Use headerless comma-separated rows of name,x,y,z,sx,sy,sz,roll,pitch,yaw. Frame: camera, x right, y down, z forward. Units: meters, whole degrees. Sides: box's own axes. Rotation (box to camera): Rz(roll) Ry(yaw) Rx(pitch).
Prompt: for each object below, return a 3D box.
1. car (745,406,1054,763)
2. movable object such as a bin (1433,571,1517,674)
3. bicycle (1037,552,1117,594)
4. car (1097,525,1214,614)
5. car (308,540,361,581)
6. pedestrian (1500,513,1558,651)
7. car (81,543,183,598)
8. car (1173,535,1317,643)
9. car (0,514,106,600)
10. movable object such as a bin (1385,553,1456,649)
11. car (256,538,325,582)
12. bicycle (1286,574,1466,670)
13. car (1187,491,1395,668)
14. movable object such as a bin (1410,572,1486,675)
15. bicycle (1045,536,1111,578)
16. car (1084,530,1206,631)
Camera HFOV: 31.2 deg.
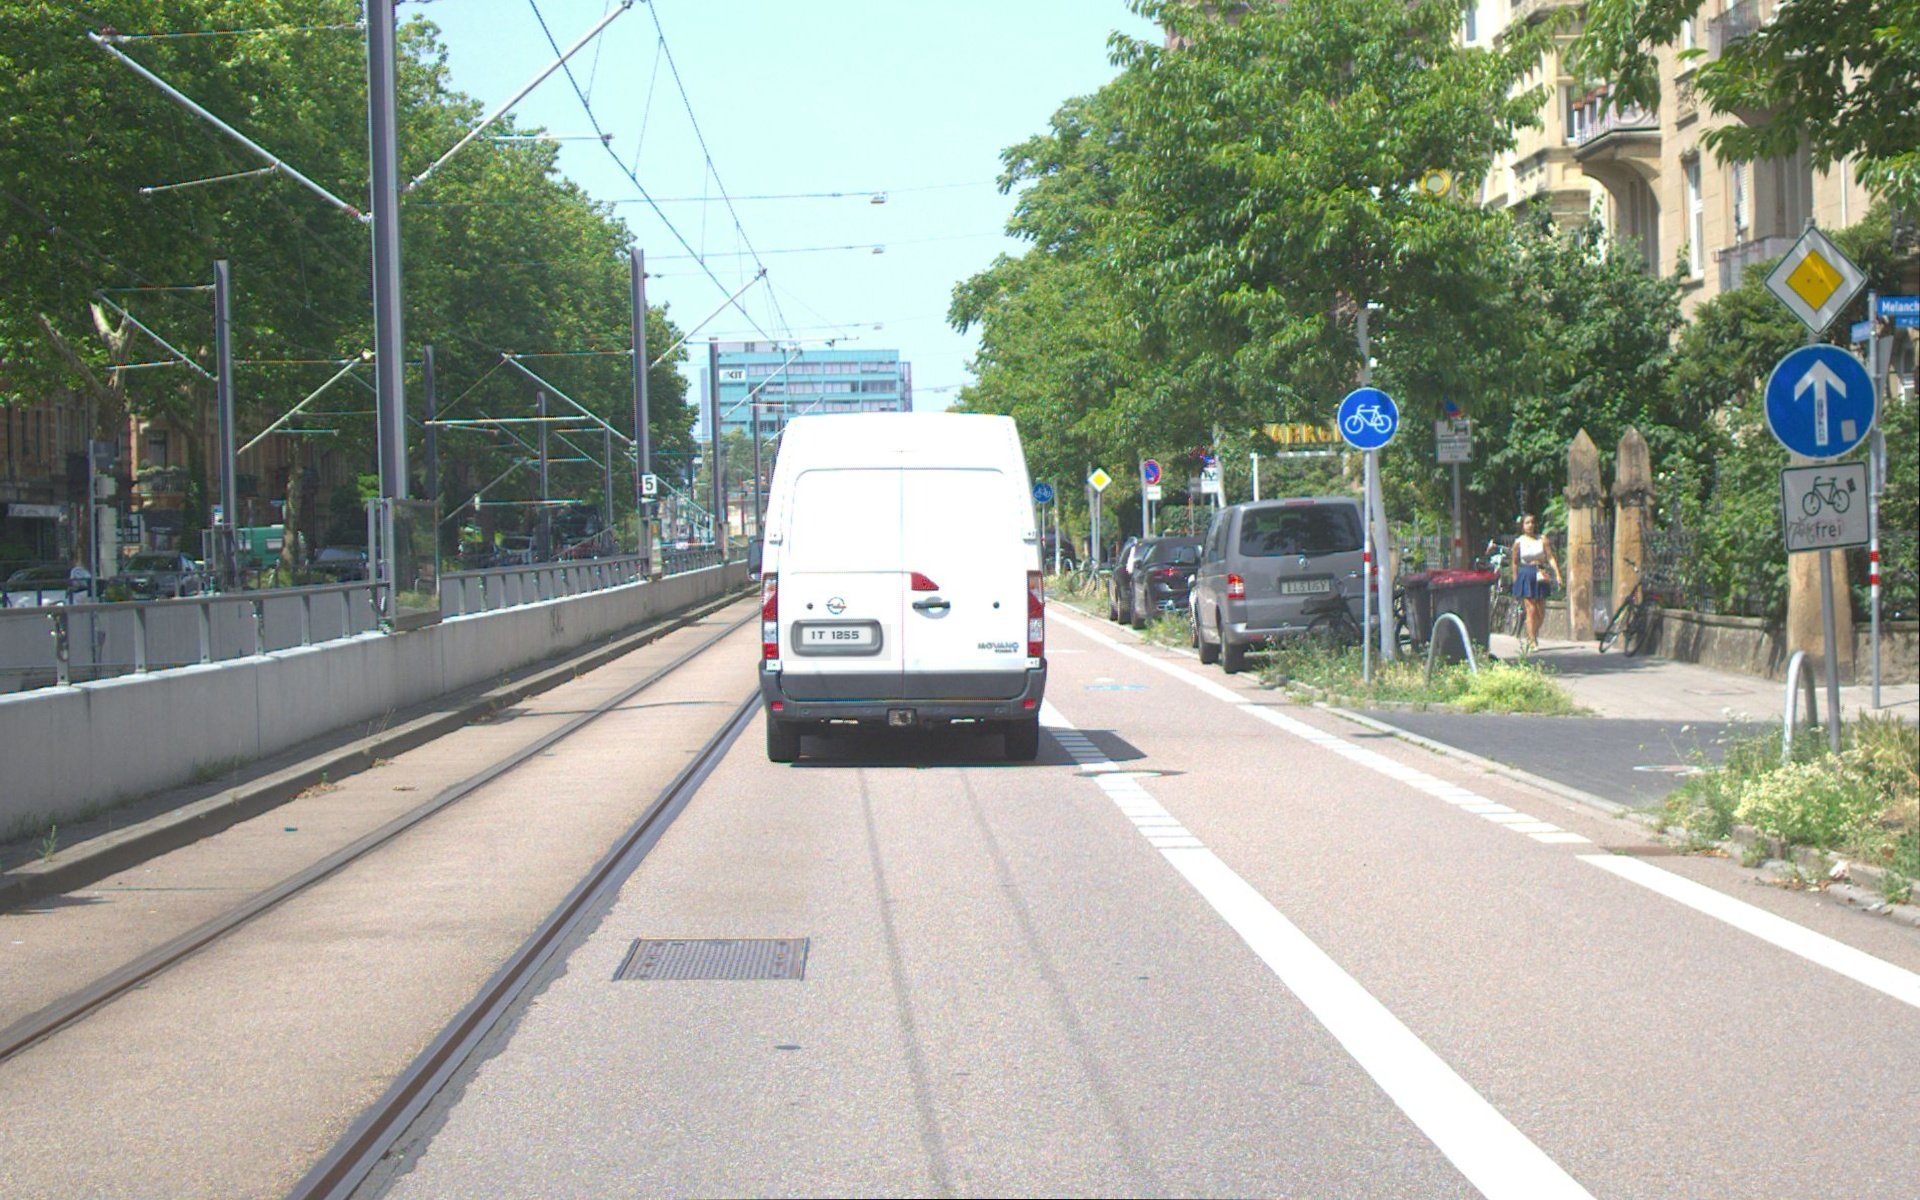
car,-0.517,-0.164,26.411,2.117,2.450,5.055,-1,1,-2
movable object such as a bin,5.193,0.221,34.677,0.787,1.010,0.650,-1,1,5
bicycle,2.752,-0.631,81.061,1.842,0.950,0.503,-1,1,1
car,3.497,-0.575,62.187,1.729,1.530,4.405,-1,1,-2
car,-22.605,-1.427,124.313,1.373,1.419,3.088,-1,1,-1
pedestrian,6.617,-0.216,40.019,0.552,1.592,0.728,-1,1,1
car,-22.217,-0.814,92.388,1.852,1.396,4.198,-1,1,-2
car,3.990,-0.189,48.610,1.611,1.401,4.000,-1,1,-1
car,-18.508,-0.879,69.502,1.653,1.678,3.708,-1,1,-2
movable object such as a bin,4.925,0.007,36.789,0.595,1.007,0.566,-1,1,-11
car,-22.659,-1.370,116.517,1.592,1.443,4.000,-1,1,-1
bicycle,4.534,0.233,37.504,1.880,0.988,0.470,-1,1,-10
car,3.916,-0.292,41.466,1.879,1.941,4.837,-2,1,-1
movable object such as a bin,5.095,0.241,35.919,0.746,1.058,0.496,-1,1,5
bicycle,3.468,-1.266,100.884,1.887,1.178,0.640,-1,1,-3
car,2.981,-0.347,56.087,1.667,1.525,4.013,-1,1,-1
